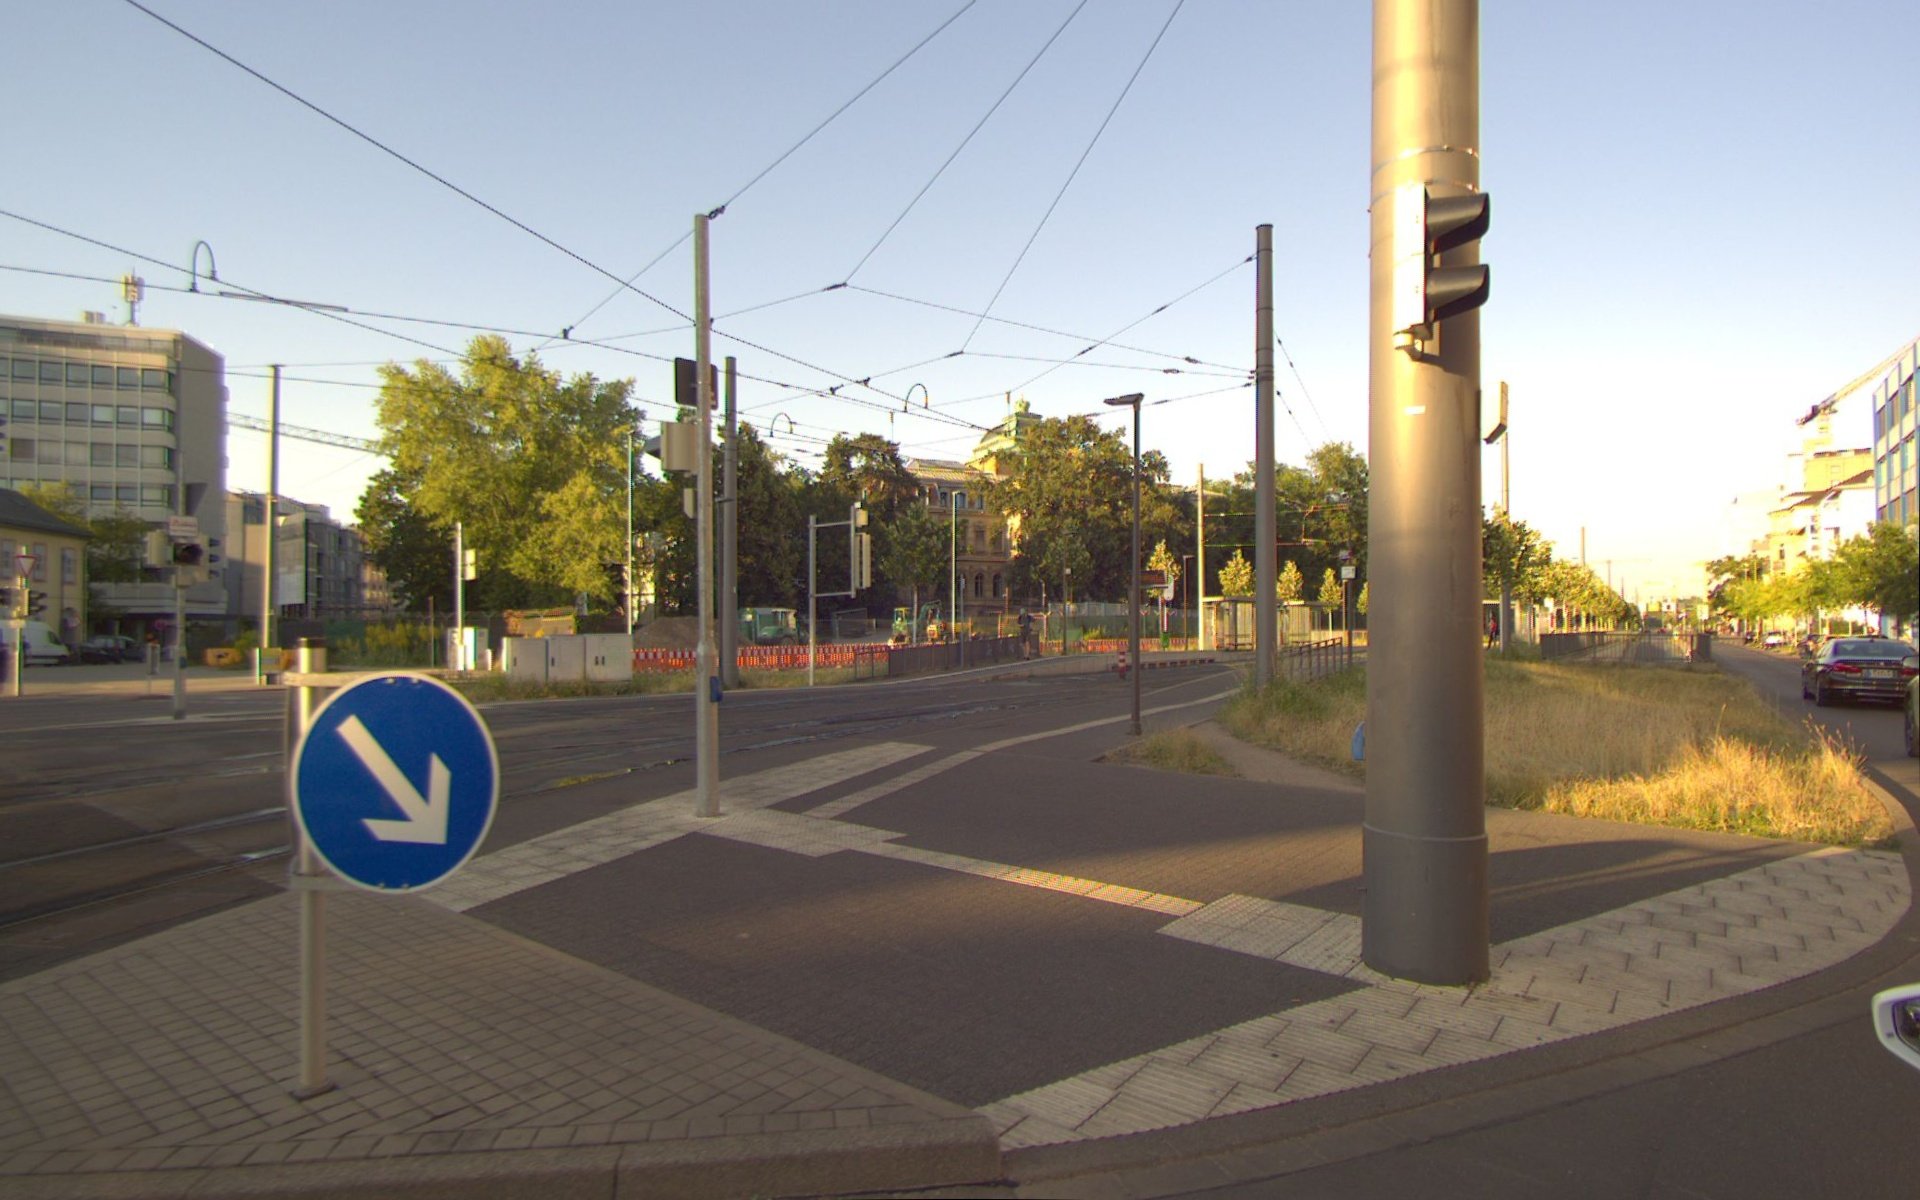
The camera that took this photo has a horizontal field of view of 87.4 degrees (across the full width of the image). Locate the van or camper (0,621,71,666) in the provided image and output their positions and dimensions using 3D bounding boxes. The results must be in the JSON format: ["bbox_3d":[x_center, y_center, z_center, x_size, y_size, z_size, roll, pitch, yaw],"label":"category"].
[{"bbox_3d":[-51.378,2.328,54.818,1.965,2.332,5.105,0,-2,-12],"label":"van or camper"}]

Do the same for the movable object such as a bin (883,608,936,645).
[{"bbox_3d":[-3.888,2.067,77.772,1.968,2.742,3.985,-1,-2,37],"label":"movable object such as a bin"}]

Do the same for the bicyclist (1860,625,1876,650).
[{"bbox_3d":[56.717,2.349,62.716,0.550,1.494,0.621,-4,-4,33],"label":"bicyclist"}]

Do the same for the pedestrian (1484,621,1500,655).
[{"bbox_3d":[27.089,1.939,51.133,0.624,1.751,0.636,-1,-2,23],"label":"pedestrian"}]

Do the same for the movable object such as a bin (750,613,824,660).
[{"bbox_3d":[-10.513,2.218,61.174,3.970,2.742,1.976,2,-2,-42],"label":"movable object such as a bin"}]

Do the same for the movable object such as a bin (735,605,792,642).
[{"bbox_3d":[-14.887,1.815,76.337,1.968,2.742,3.985,-1,-2,37],"label":"movable object such as a bin"}]

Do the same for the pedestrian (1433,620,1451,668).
[{"bbox_3d":[18.350,1.653,38.252,0.466,1.810,0.622,-1,-2,43],"label":"pedestrian"}]

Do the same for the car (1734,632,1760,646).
[{"bbox_3d":[89.054,4.433,113.718,1.768,1.490,4.434,-4,-4,32],"label":"car"}]

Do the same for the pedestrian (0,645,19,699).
[{"bbox_3d":[-27.702,2.076,29.075,0.645,1.530,0.587,-3,-3,40],"label":"pedestrian"}]

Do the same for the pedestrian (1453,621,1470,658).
[{"bbox_3d":[23.995,1.873,48.069,0.714,1.768,0.635,-1,-1,28],"label":"pedestrian"}]

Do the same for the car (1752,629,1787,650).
[{"bbox_3d":[72.328,3.504,89.806,1.830,1.728,4.243,-6,-5,33],"label":"car"}]

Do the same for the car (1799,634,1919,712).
[{"bbox_3d":[19.717,1.530,22.018,1.835,1.482,4.176,1,-1,38],"label":"car"}]

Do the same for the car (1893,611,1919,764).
[{"bbox_3d":[11.709,1.009,10.936,1.834,1.736,4.176,1,-1,37],"label":"car"}]

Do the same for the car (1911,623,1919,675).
[{"bbox_3d":[30.988,1.499,30.922,1.734,1.675,4.514,-4,-4,35],"label":"car"}]

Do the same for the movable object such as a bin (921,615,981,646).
[{"bbox_3d":[-0.621,2.323,75.711,1.968,2.276,4.920,-1,-2,37],"label":"movable object such as a bin"}]

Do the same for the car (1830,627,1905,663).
[{"bbox_3d":[42.696,2.109,47.364,1.794,1.587,4.797,-3,-3,33],"label":"car"}]

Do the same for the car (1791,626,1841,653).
[{"bbox_3d":[49.624,2.312,58.301,1.661,1.473,4.119,-3,-4,33],"label":"car"}]

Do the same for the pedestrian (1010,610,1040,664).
[{"bbox_3d":[2.253,1.277,34.749,0.685,1.822,0.814,-1,-2,37],"label":"pedestrian"}]

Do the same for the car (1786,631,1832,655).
[{"bbox_3d":[55.595,2.805,65.845,1.794,1.473,4.117,-2,-3,33],"label":"car"}]
